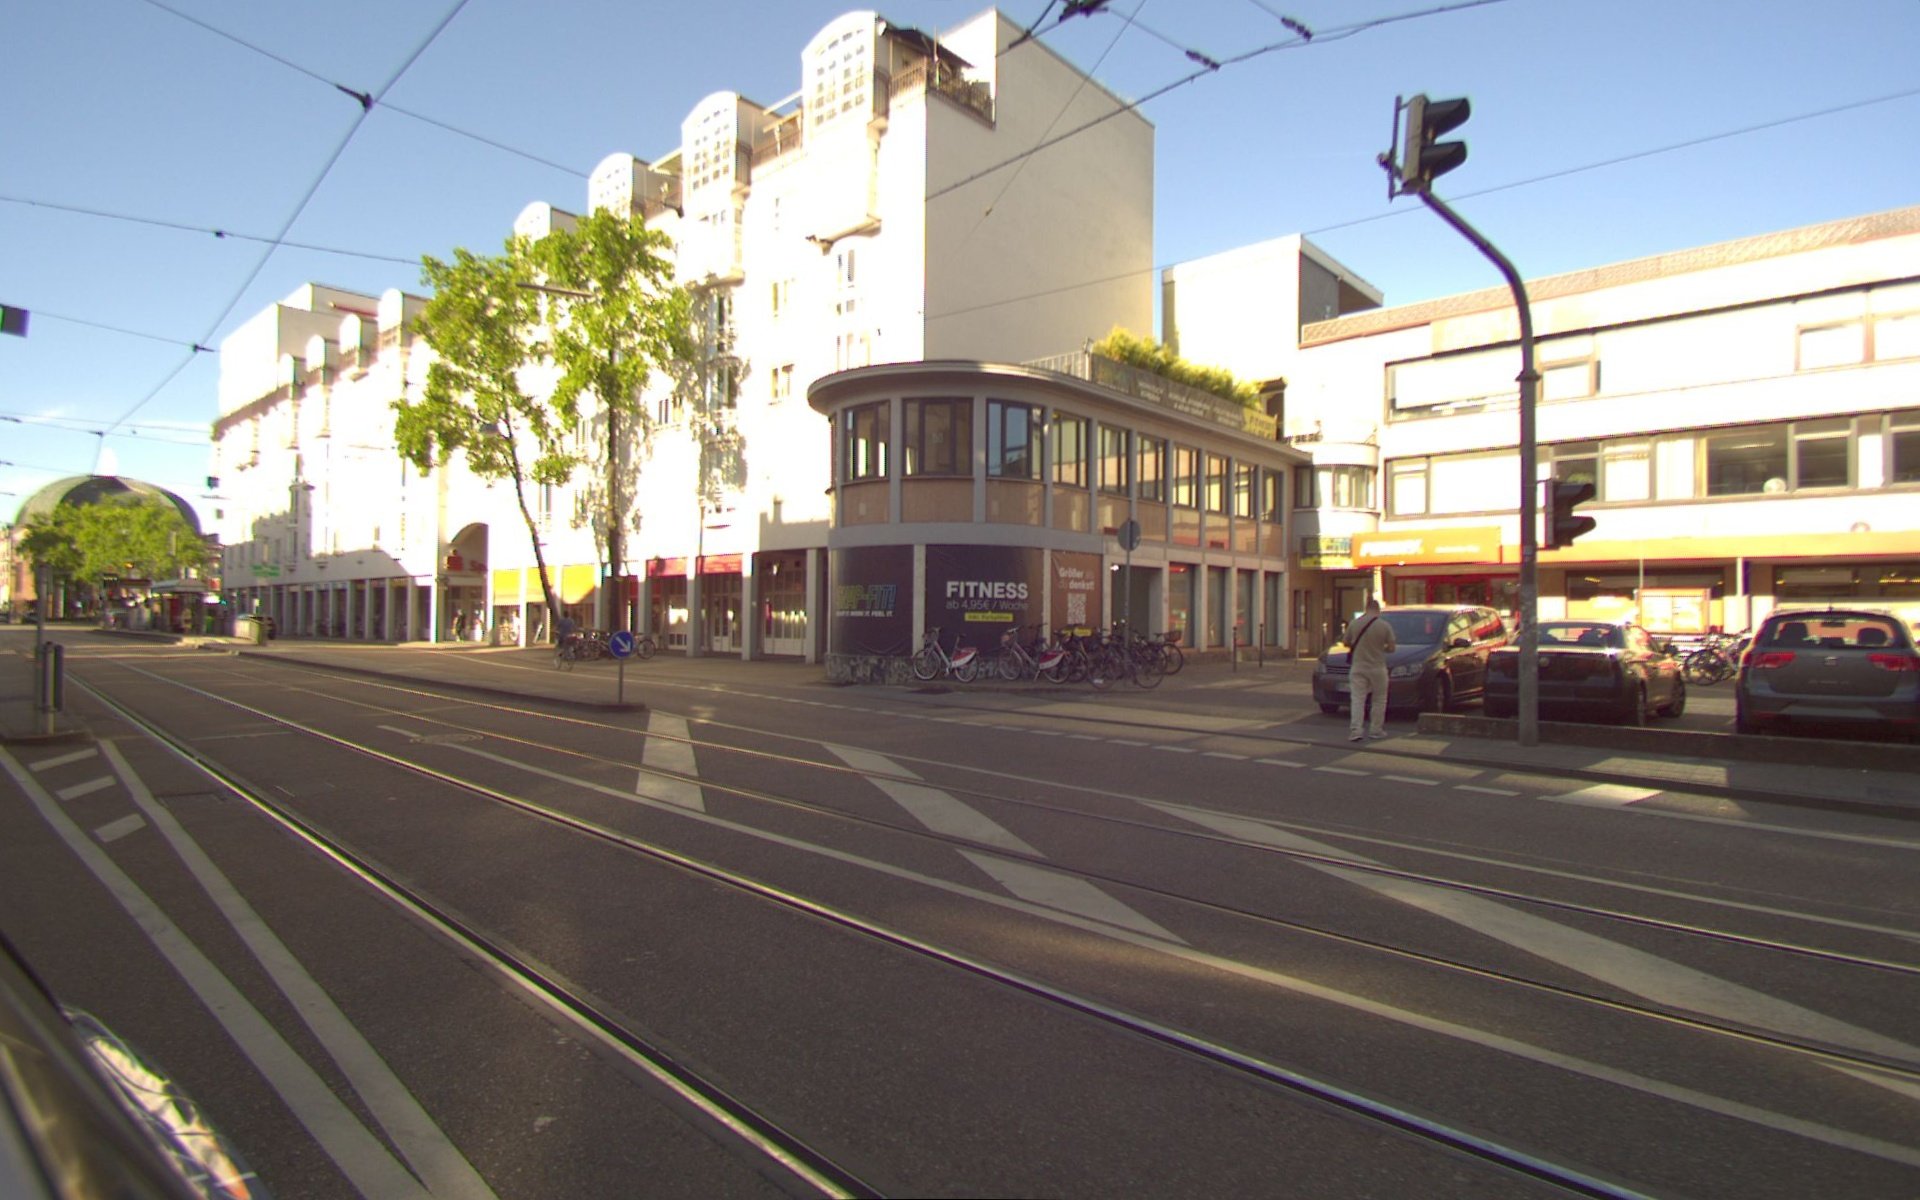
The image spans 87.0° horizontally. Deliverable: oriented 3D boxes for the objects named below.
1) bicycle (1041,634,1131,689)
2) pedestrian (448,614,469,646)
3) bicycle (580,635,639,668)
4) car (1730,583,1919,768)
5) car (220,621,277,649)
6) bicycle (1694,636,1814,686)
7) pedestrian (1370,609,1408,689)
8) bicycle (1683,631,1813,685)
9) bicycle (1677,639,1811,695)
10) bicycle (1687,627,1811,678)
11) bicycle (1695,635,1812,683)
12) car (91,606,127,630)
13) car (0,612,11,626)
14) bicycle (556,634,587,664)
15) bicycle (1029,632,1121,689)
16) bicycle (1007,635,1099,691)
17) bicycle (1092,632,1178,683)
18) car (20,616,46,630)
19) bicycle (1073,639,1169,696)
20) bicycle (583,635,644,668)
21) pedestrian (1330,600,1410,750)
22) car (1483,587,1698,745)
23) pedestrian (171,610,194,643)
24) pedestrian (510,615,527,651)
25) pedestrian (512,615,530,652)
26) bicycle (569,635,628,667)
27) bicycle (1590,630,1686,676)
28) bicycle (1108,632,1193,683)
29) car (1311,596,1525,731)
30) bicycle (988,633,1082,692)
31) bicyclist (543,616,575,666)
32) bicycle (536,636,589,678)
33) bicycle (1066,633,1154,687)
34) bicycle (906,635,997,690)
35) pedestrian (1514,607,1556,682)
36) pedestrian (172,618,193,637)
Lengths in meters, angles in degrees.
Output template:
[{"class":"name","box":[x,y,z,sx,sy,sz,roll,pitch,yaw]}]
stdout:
[{"class":"bicycle","box":[2.626,1.257,21.144,1.875,1.085,0.459,-1,-2,35]},{"class":"pedestrian","box":[-26.445,1.590,53.384,0.731,1.657,0.737,-1,-2,43]},{"class":"bicycle","box":[-11.841,1.723,34.230,1.849,1.085,0.465,2,-2,-39]},{"class":"car","box":[10.455,0.796,11.950,1.785,1.826,4.187,-1,-2,42]},{"class":"car","box":[-43.471,2.143,61.831,4.265,1.552,1.761,0,-4,40]},{"class":"bicycle","box":[17.487,1.330,22.334,2.061,1.022,0.490,-1,-2,40]},{"class":"pedestrian","box":[9.359,1.055,22.077,0.653,1.708,0.476,0,-2,40]},{"class":"bicycle","box":[16.034,1.161,20.646,2.061,1.022,0.507,-1,-2,40]},{"class":"bicycle","box":[15.461,1.306,20.001,2.061,1.022,0.504,-1,-2,40]},{"class":"bicycle","box":[16.738,1.092,21.510,2.061,1.022,0.499,-1,-2,40]},{"class":"bicycle","box":[17.954,1.314,22.942,2.061,1.022,0.499,-1,-2,40]},{"class":"car","box":[-76.518,1.643,90.965,3.998,2.029,1.860,-2,-1,41]},{"class":"car","box":[-130.438,2.544,137.325,3.997,1.918,1.973,-1,-2,40]},{"class":"bicycle","box":[-12.941,1.628,33.665,0.463,0.939,1.757,2,-2,-38]},{"class":"bicycle","box":[2.320,1.214,20.619,1.875,1.095,0.459,-1,-2,35]},{"class":"bicycle","box":[1.856,1.247,20.335,1.875,1.044,0.459,-1,-2,35]},{"class":"bicycle","box":[3.905,1.268,22.600,1.874,1.085,0.459,0,-2,34]},{"class":"car","box":[-109.909,2.725,119.987,4.000,1.630,1.972,-1,-2,43]},{"class":"bicycle","box":[3.077,1.268,19.237,1.847,1.044,0.427,1,-2,-23]},{"class":"bicycle","box":[-11.565,1.715,33.797,1.849,1.085,0.465,2,-2,-39]},{"class":"pedestrian","box":[5.066,0.899,12.497,0.778,1.777,0.707,-1,-2,36]},{"class":"car","box":[8.719,0.813,13.835,1.785,1.826,4.188,-1,-2,42]},{"class":"pedestrian","box":[-40.225,1.377,52.372,0.747,1.657,0.784,0,-1,43]},{"class":"pedestrian","box":[-20.321,1.528,46.588,0.523,1.657,0.556,-1,-2,43]},{"class":"pedestrian","box":[-20.236,1.544,46.661,0.523,1.657,0.556,-1,-2,43]},{"class":"bicycle","box":[-12.494,1.751,35.023,1.849,1.085,0.465,2,-2,-39]},{"class":"bicycle","box":[15.815,1.217,23.651,0.363,1.022,1.827,2,-2,-44]},{"class":"bicycle","box":[4.326,1.289,23.021,1.874,1.085,0.459,0,-2,34]},{"class":"car","box":[7.112,0.864,15.497,1.785,1.777,4.188,-1,-1,42]},{"class":"bicycle","box":[1.453,1.205,19.921,1.875,1.088,0.459,-1,-2,35]},{"class":"bicyclist","box":[-11.376,1.156,28.738,0.719,1.372,0.556,0,-2,43]},{"class":"bicycle","box":[-11.364,1.610,28.912,2.004,1.132,0.557,0,-3,43]},{"class":"bicycle","box":[3.217,1.274,21.791,1.874,1.085,0.459,0,-2,34]},{"class":"bicycle","box":[-0.186,1.233,20.321,1.875,1.044,0.519,-1,-2,35]},{"class":"pedestrian","box":[12.971,0.999,22.836,0.691,1.646,0.631,-1,-2,42]},{"class":"pedestrian","box":[-42.744,1.509,55.622,0.747,0.995,0.784,1,-1,43]}]
